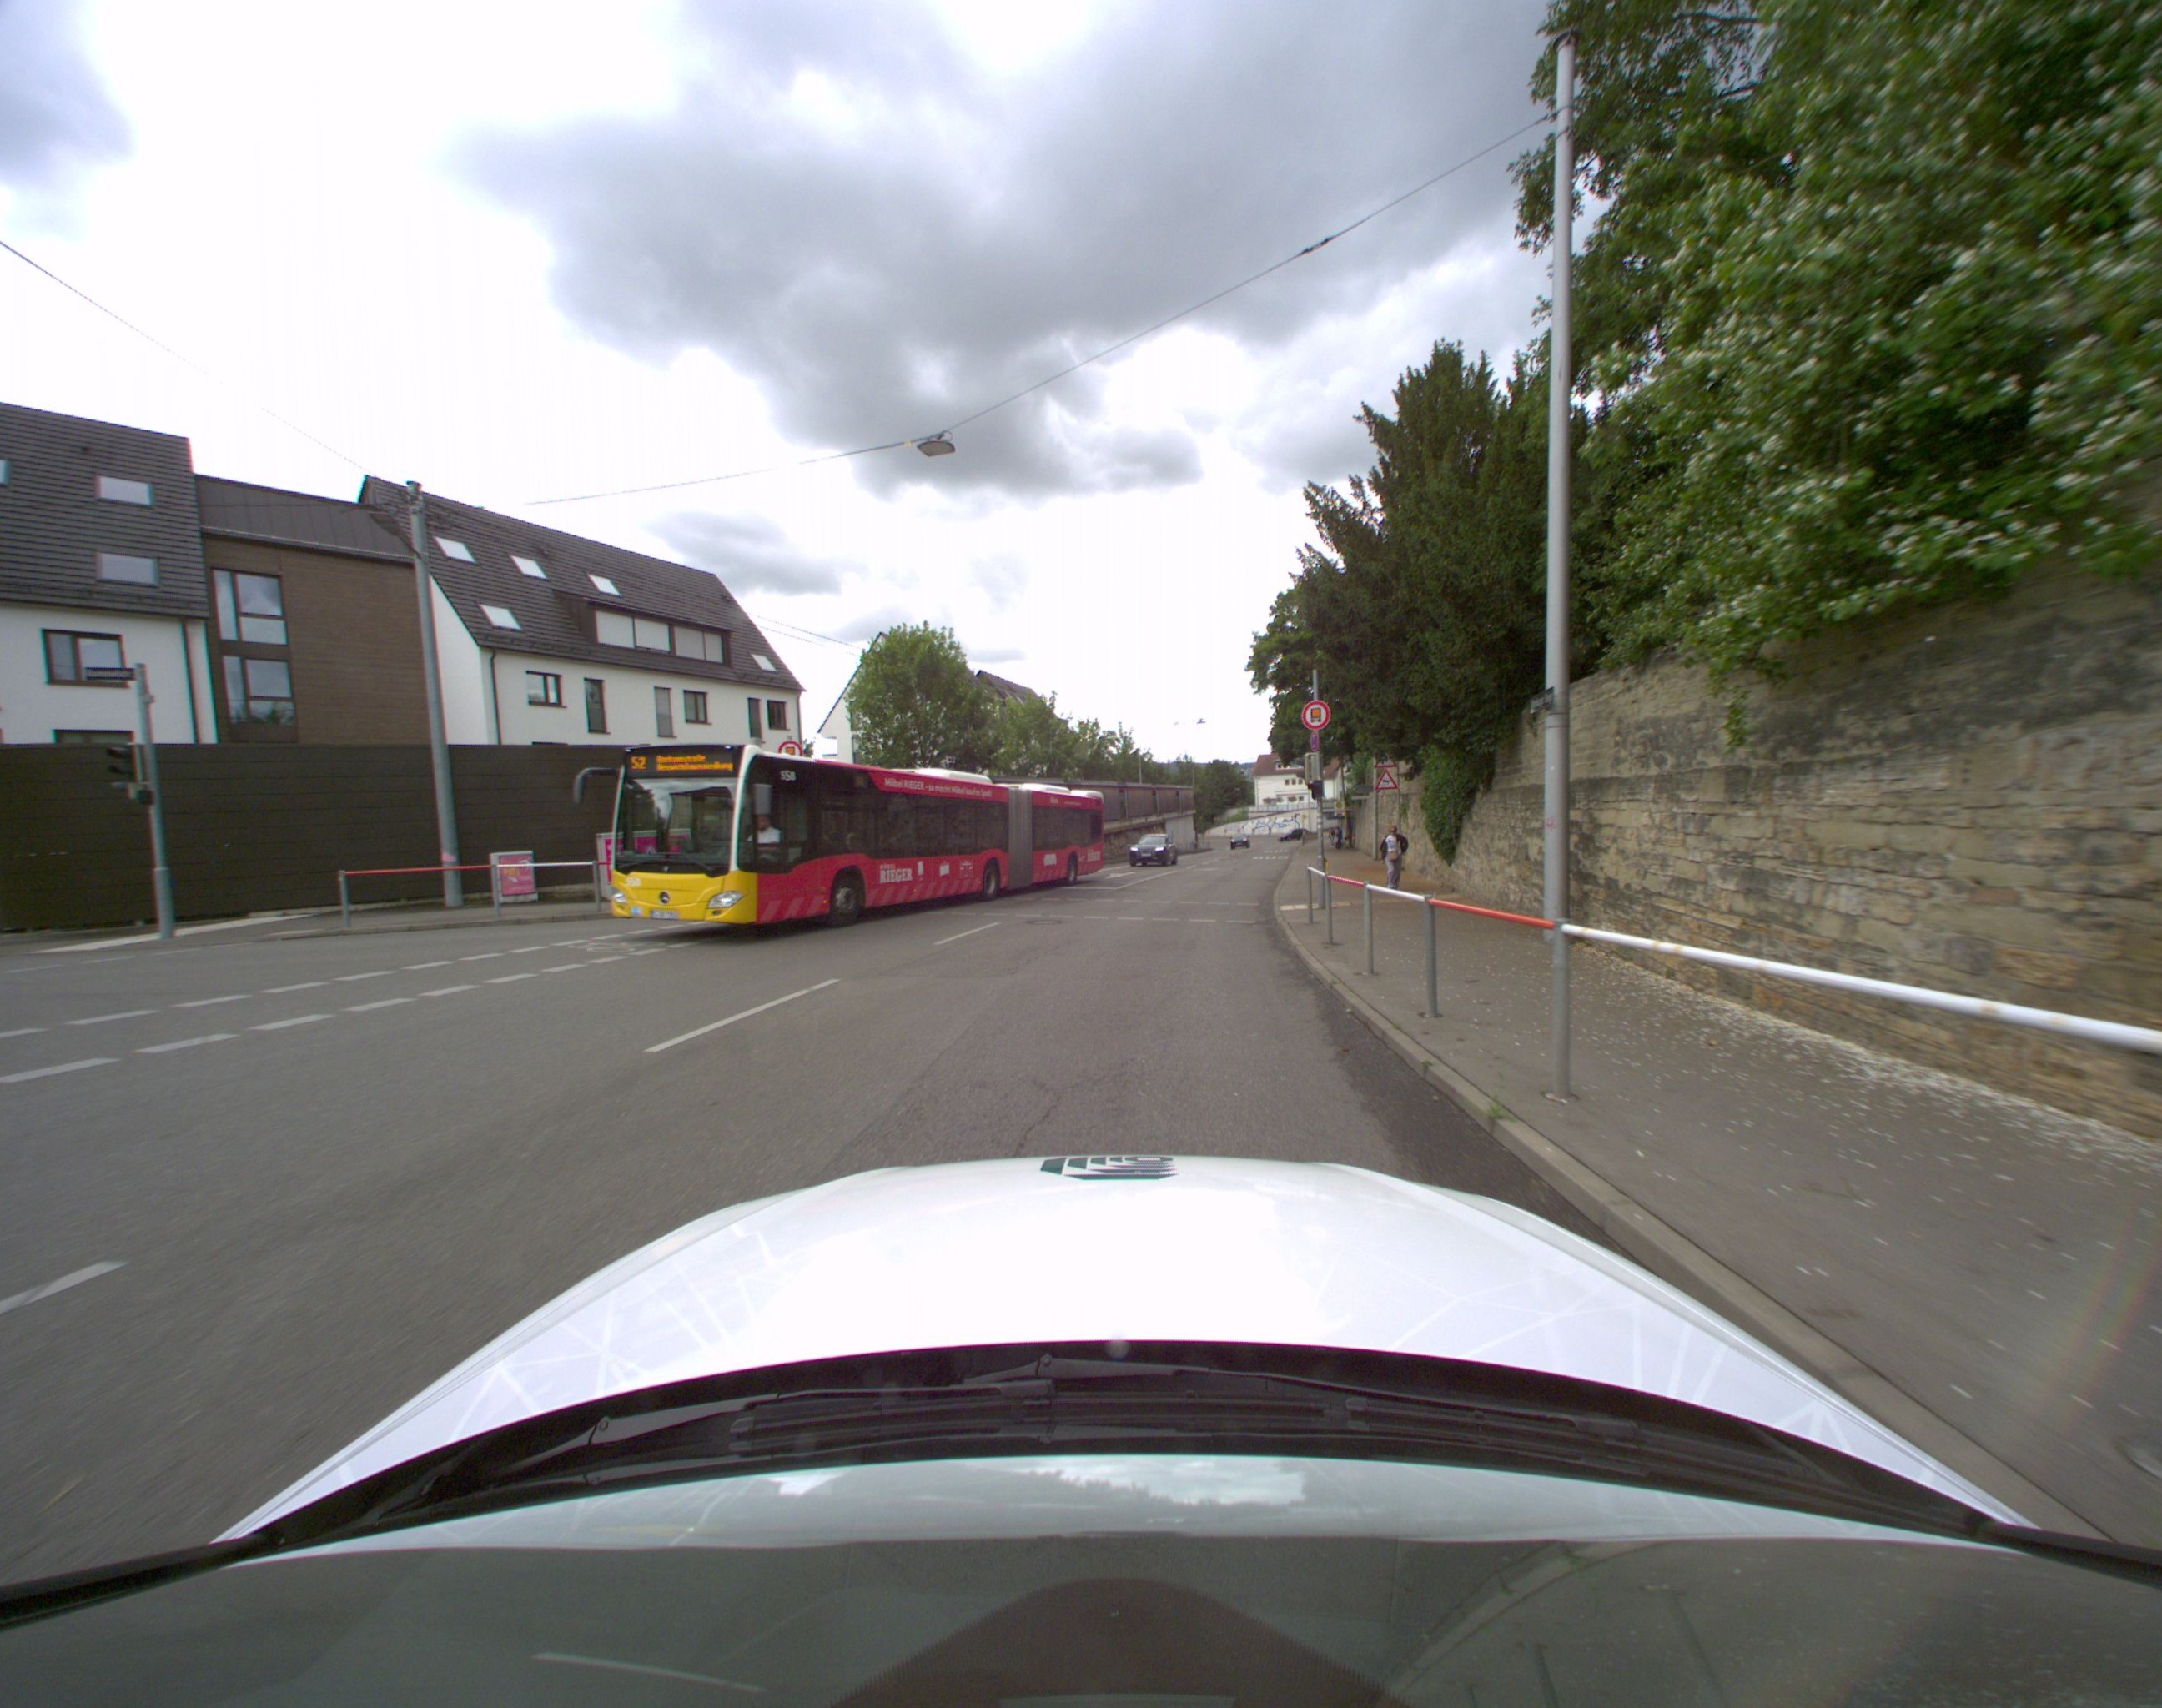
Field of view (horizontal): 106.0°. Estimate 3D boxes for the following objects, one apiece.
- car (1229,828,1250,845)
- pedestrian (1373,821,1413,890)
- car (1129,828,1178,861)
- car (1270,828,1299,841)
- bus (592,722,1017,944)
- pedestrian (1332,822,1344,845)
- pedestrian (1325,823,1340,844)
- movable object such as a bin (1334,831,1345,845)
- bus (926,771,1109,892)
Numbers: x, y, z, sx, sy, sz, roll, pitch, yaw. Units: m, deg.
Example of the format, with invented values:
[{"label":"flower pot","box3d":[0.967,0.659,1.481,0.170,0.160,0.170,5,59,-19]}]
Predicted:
[{"label":"car","box3d":[17.520,-1.922,89.674,1.880,1.756,4.456,-2,1,15]},{"label":"pedestrian","box3d":[7.435,0.030,19.443,0.726,1.576,0.746,-3,1,13]},{"label":"car","box3d":[3.908,-0.506,43.109,1.908,1.630,4.540,0,1,14]},{"label":"car","box3d":[25.450,-2.421,101.778,1.718,1.532,4.025,-2,1,43]},{"label":"bus","box3d":[-4.500,-0.444,16.650,2.636,3.121,10.068,0,2,18]},{"label":"pedestrian","box3d":[19.161,-1.518,60.651,0.716,1.642,0.633,-2,1,11]},{"label":"pedestrian","box3d":[19.464,-1.598,63.019,0.776,1.587,0.730,-5,2,-33]},{"label":"movable object such as a bin","box3d":[19.038,-1.192,59.979,0.670,1.020,0.629,-2,2,11]},{"label":"bus","box3d":[-1.577,-0.709,25.399,2.636,3.121,8.333,0,2,18]}]
